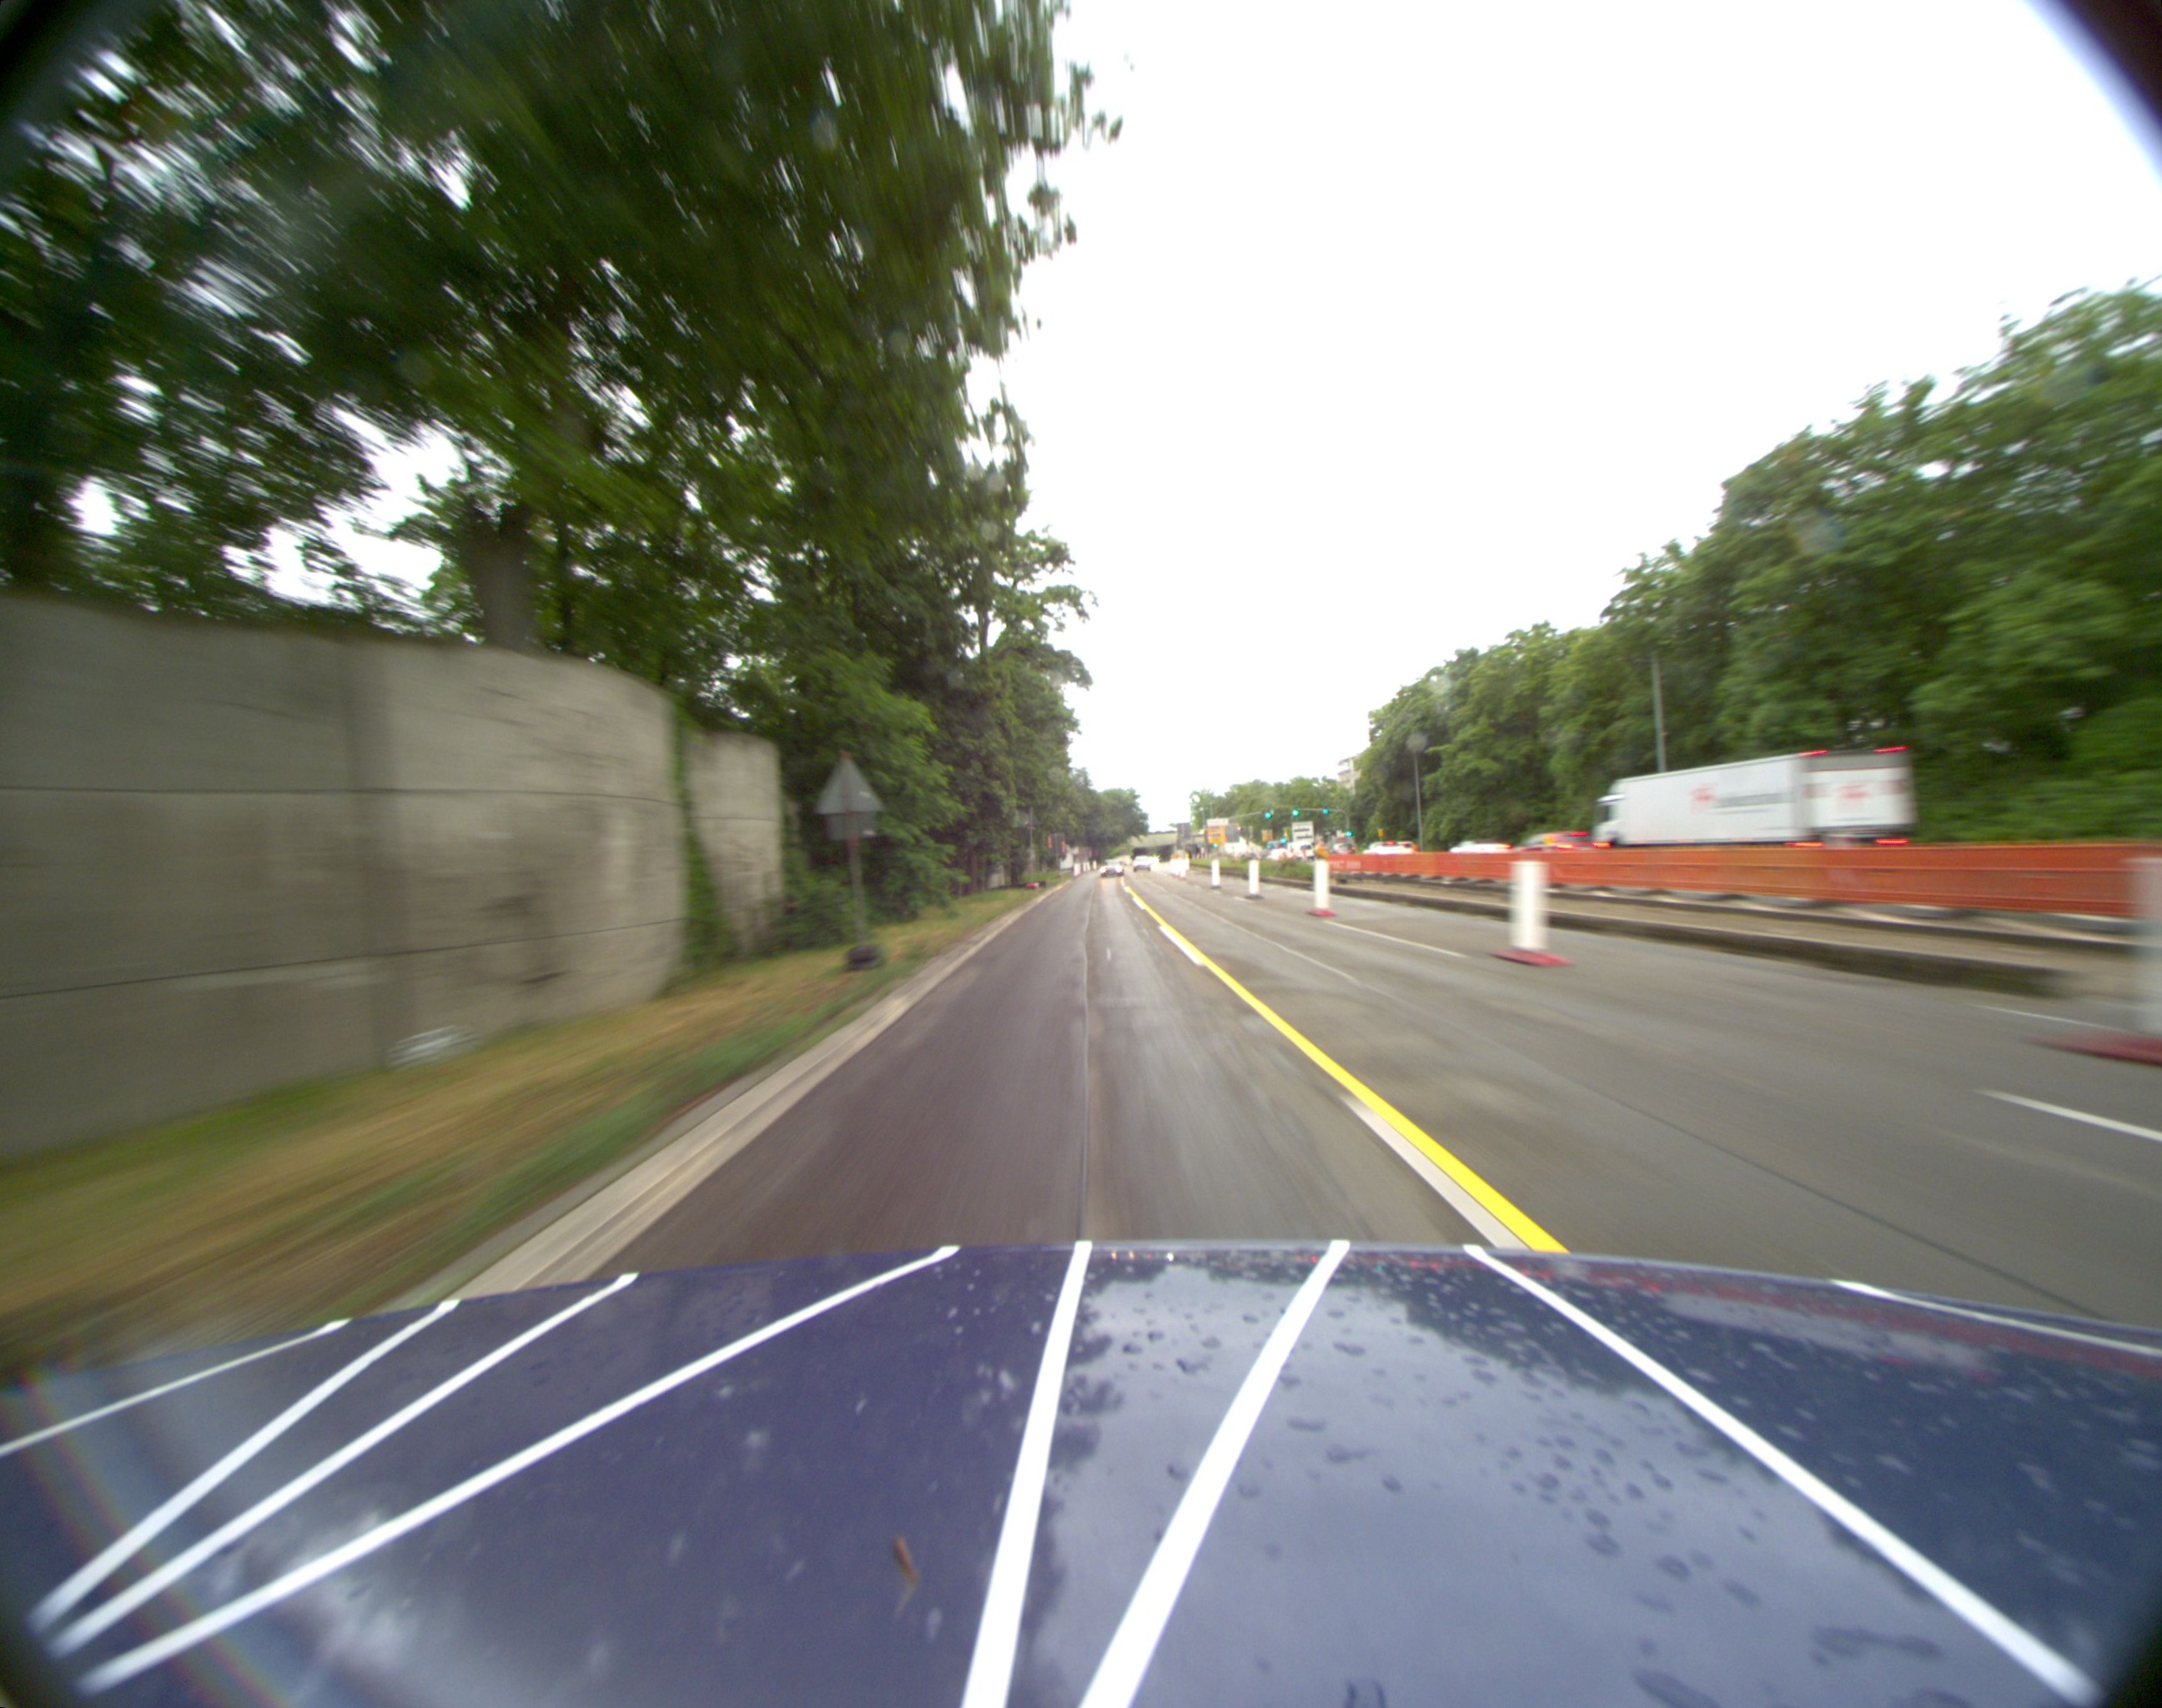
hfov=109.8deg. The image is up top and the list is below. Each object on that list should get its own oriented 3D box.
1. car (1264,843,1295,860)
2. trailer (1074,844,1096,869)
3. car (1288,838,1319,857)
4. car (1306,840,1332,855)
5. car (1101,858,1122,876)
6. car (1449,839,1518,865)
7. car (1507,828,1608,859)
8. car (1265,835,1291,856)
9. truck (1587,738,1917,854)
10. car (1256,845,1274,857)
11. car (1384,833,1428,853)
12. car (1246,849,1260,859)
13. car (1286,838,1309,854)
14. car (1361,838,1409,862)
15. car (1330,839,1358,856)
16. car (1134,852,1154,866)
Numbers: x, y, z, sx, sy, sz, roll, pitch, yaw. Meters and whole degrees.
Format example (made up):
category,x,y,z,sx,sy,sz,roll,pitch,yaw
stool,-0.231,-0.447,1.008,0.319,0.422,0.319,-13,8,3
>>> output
category,x,y,z,sx,sy,sz,roll,pitch,yaw
car,19.164,-0.241,73.472,1.860,1.477,4.679,-3,0,3
trailer,0.653,0.368,117.103,2.311,3.568,5.964,-3,0,10
car,23.217,-0.608,79.461,1.918,1.770,4.835,-4,-1,2
car,26.306,-0.686,84.138,1.797,1.514,4.636,-4,0,6
car,2.629,1.068,64.709,1.697,1.393,3.826,-3,0,3
car,23.507,-0.127,44.530,1.814,1.371,4.369,-3,0,2
car,19.779,-0.418,31.759,1.609,1.145,4.283,-3,0,2
car,25.225,-1.023,97.619,2.200,2.376,6.247,-4,-1,6
truck,22.451,-1.647,26.671,2.802,3.130,10.149,-3,0,2
car,21.016,-0.320,86.850,1.432,1.193,3.301,-4,0,6
car,24.977,-0.805,58.477,1.795,1.417,3.897,-3,0,2
car,23.501,-0.036,103.951,1.551,1.193,4.649,-4,0,11
car,29.830,-1.040,104.987,2.039,1.962,4.993,-4,-1,6
car,21.217,-0.272,53.223,1.839,1.541,4.040,-3,0,2
car,25.813,-0.659,74.727,1.675,1.514,3.791,-4,0,6
car,6.851,0.500,81.883,1.696,1.300,3.828,-3,0,10
